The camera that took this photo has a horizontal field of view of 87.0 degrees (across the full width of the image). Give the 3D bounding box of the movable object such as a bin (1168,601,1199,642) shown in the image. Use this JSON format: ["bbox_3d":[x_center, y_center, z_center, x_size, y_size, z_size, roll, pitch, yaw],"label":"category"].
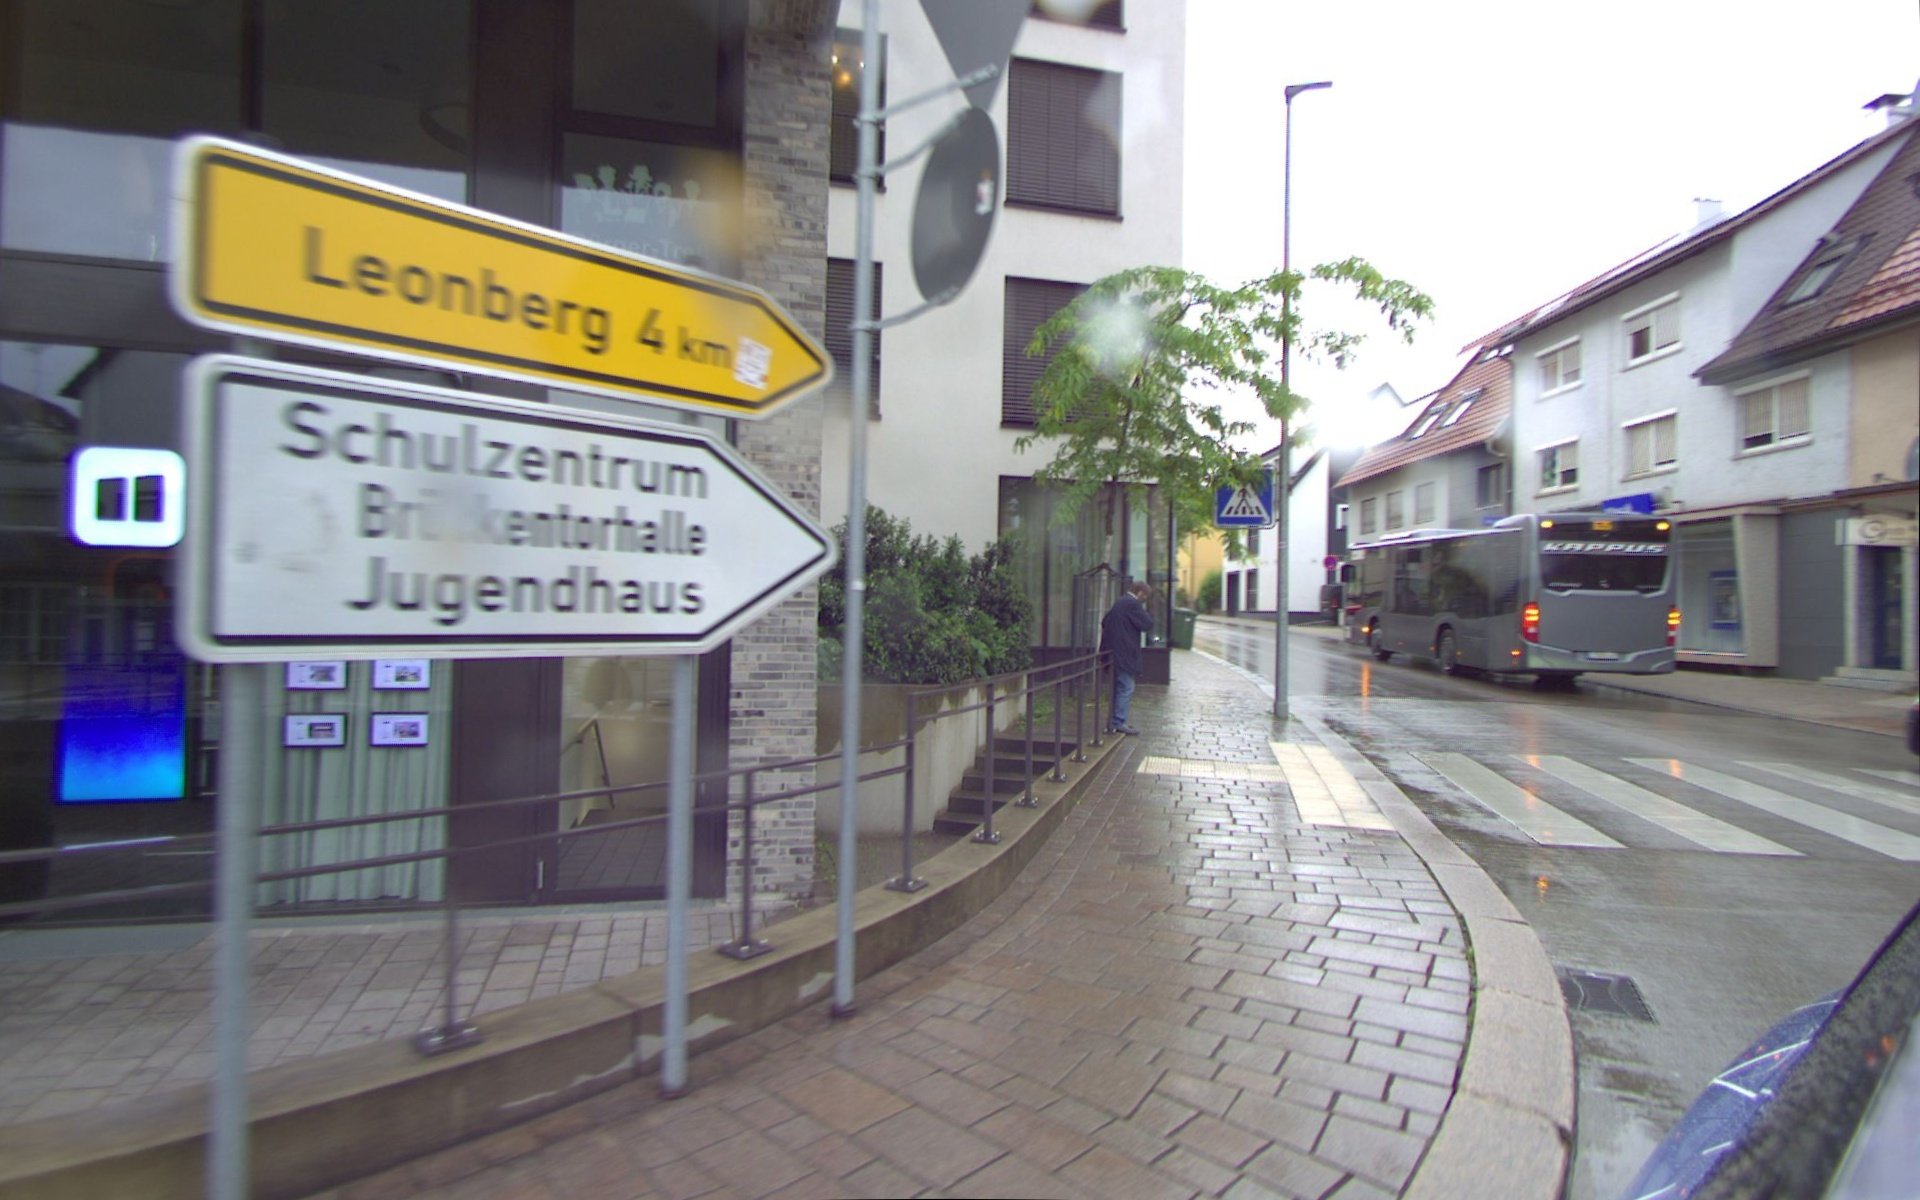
[{"bbox_3d":[6.283,0.598,28.497,0.751,1.132,0.623,1,0,6],"label":"movable object such as a bin"}]

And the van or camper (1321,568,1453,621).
[{"bbox_3d":[19.140,-0.263,45.545,4.947,1.957,2.000,-4,1,2],"label":"van or camper"}]

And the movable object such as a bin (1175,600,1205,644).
[{"bbox_3d":[6.185,0.585,27.267,0.713,1.132,0.575,1,0,6],"label":"movable object such as a bin"}]

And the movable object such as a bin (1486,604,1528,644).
[{"bbox_3d":[15.232,0.652,28.183,0.780,1.072,0.701,0,1,2],"label":"movable object such as a bin"}]

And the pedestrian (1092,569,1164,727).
[{"bbox_3d":[1.795,0.495,10.885,0.573,1.626,0.704,2,1,-2],"label":"pedestrian"}]

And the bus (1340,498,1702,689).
[{"bbox_3d":[11.244,-0.200,22.096,2.684,3.118,10.931,0,1,5],"label":"bus"}]

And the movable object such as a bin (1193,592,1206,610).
[{"bbox_3d":[15.888,0.047,67.132,0.648,1.122,0.720,4,1,3],"label":"movable object such as a bin"}]

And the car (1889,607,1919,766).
[{"bbox_3d":[9.495,0.835,7.296,1.641,1.448,4.463,3,0,4],"label":"car"}]

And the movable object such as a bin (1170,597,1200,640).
[{"bbox_3d":[6.197,0.503,27.872,0.713,1.132,0.575,1,0,6],"label":"movable object such as a bin"}]

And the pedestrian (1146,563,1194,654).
[{"bbox_3d":[4.801,0.172,23.152,0.853,2.038,1.083,0,1,1],"label":"pedestrian"}]
